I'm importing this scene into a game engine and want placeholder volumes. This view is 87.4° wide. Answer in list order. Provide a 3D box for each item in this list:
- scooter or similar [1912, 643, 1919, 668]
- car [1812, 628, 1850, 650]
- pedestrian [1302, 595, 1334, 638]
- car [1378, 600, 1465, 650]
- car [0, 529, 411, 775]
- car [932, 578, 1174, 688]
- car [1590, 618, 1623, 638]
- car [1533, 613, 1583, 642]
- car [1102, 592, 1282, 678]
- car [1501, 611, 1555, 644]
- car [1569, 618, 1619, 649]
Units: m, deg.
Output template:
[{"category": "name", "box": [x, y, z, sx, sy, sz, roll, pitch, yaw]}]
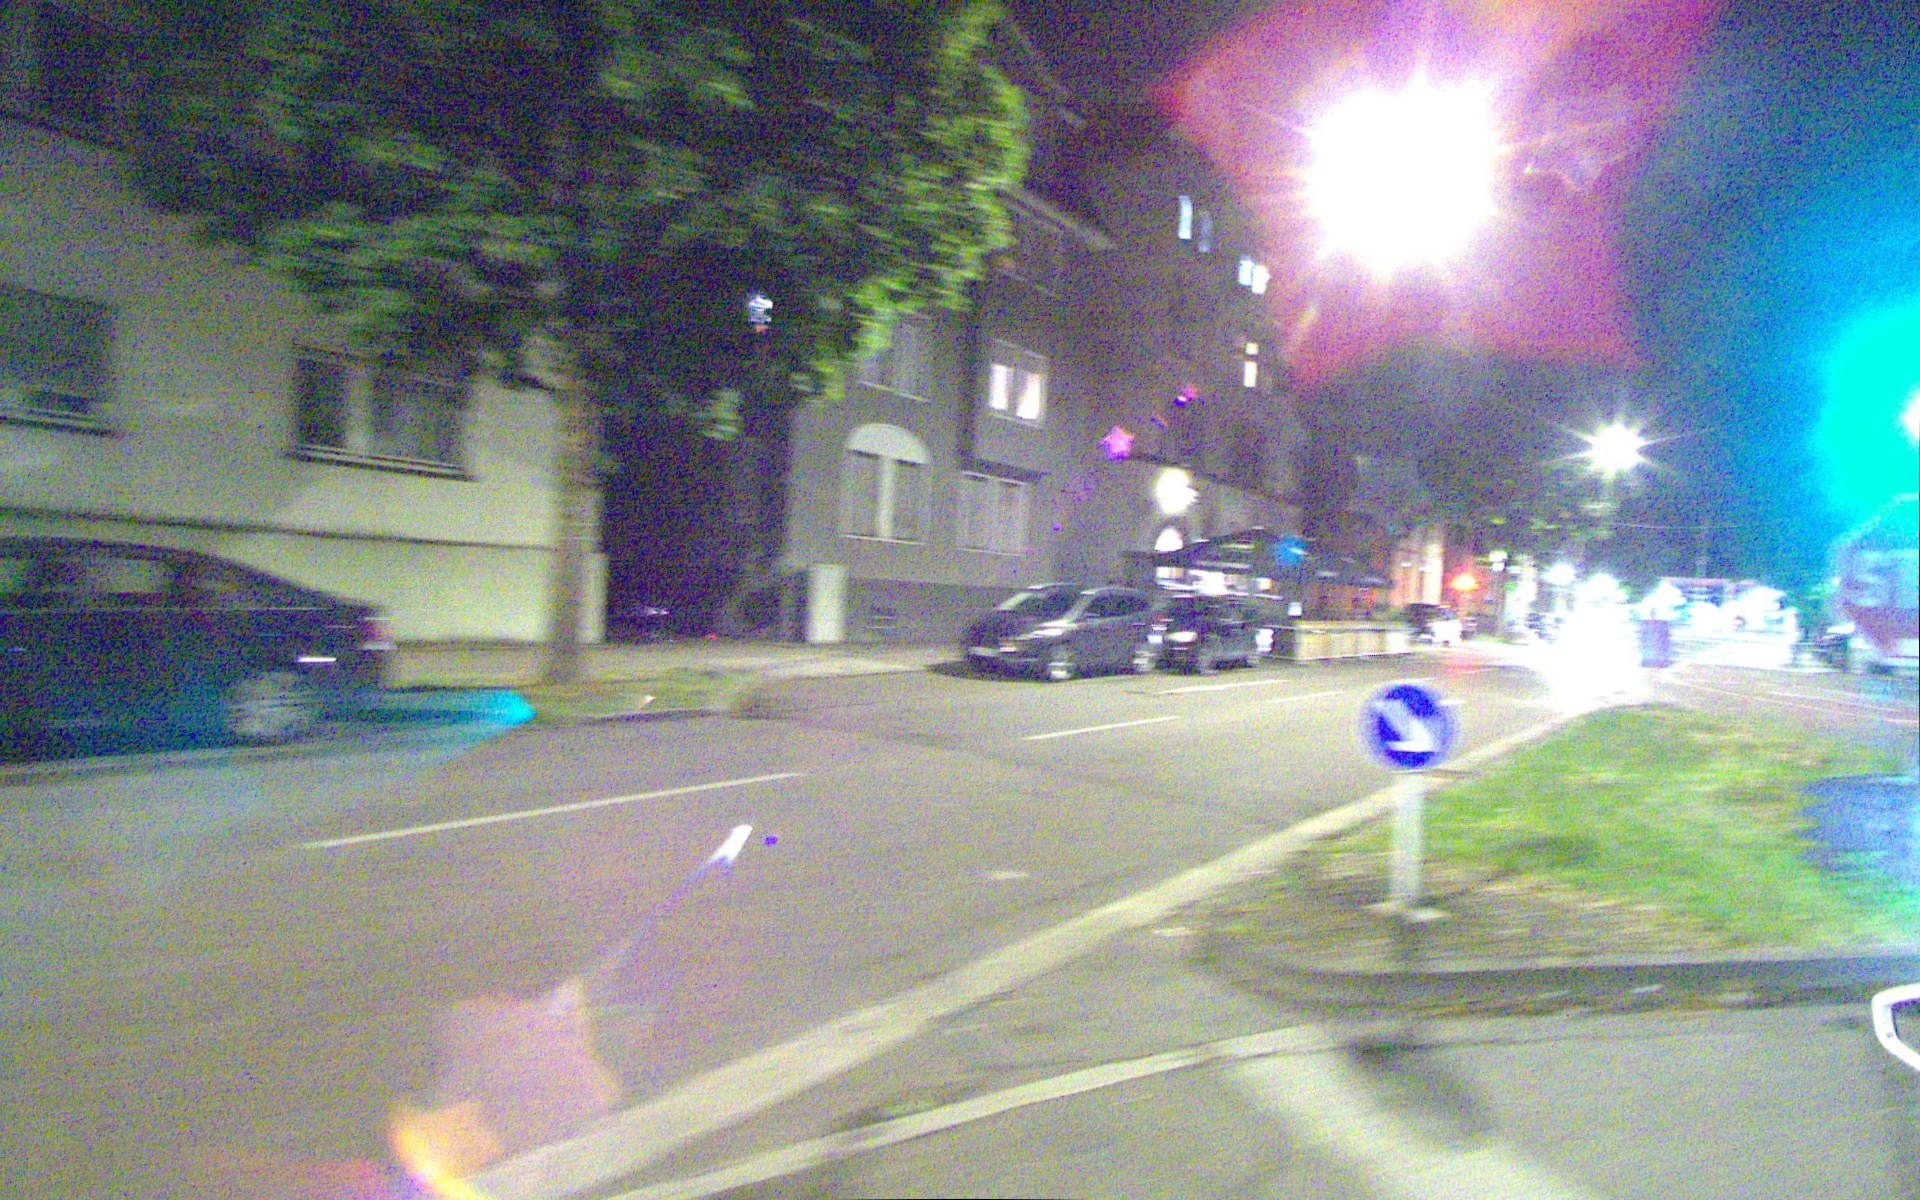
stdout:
[{"category": "scooter or similar", "box": [46.853, 2.706, 49.056, 1.483, 1.145, 0.417, 2, 2, -44]}, {"category": "car", "box": [68.797, 3.071, 79.383, 1.710, 1.479, 4.712, 5, 2, 35]}, {"category": "pedestrian", "box": [14.879, 0.687, 41.706, 1.115, 1.713, 0.703, 2, 2, -41]}, {"category": "car", "box": [17.459, 0.949, 37.945, 1.864, 1.617, 4.004, 7, 3, 40]}, {"category": "car", "box": [-6.462, 0.275, 6.840, 1.837, 1.452, 4.387, 6, 2, 36]}, {"category": "car", "box": [1.709, 0.518, 16.948, 1.838, 1.499, 4.453, 6, 2, 39]}, {"category": "car", "box": [52.615, 2.280, 81.717, 1.762, 1.434, 4.110, 6, 3, 37]}, {"category": "car", "box": [36.135, 1.646, 60.649, 1.764, 1.511, 4.308, 8, 4, 41]}, {"category": "car", "box": [4.942, 0.699, 20.958, 1.838, 1.452, 4.424, 6, 3, 39]}, {"category": "car", "box": [30.621, 1.484, 54.148, 1.575, 1.511, 3.678, 8, 4, 43]}, {"category": "car", "box": [32.892, 1.728, 52.061, 1.694, 1.449, 3.982, 3, 1, 39]}]
